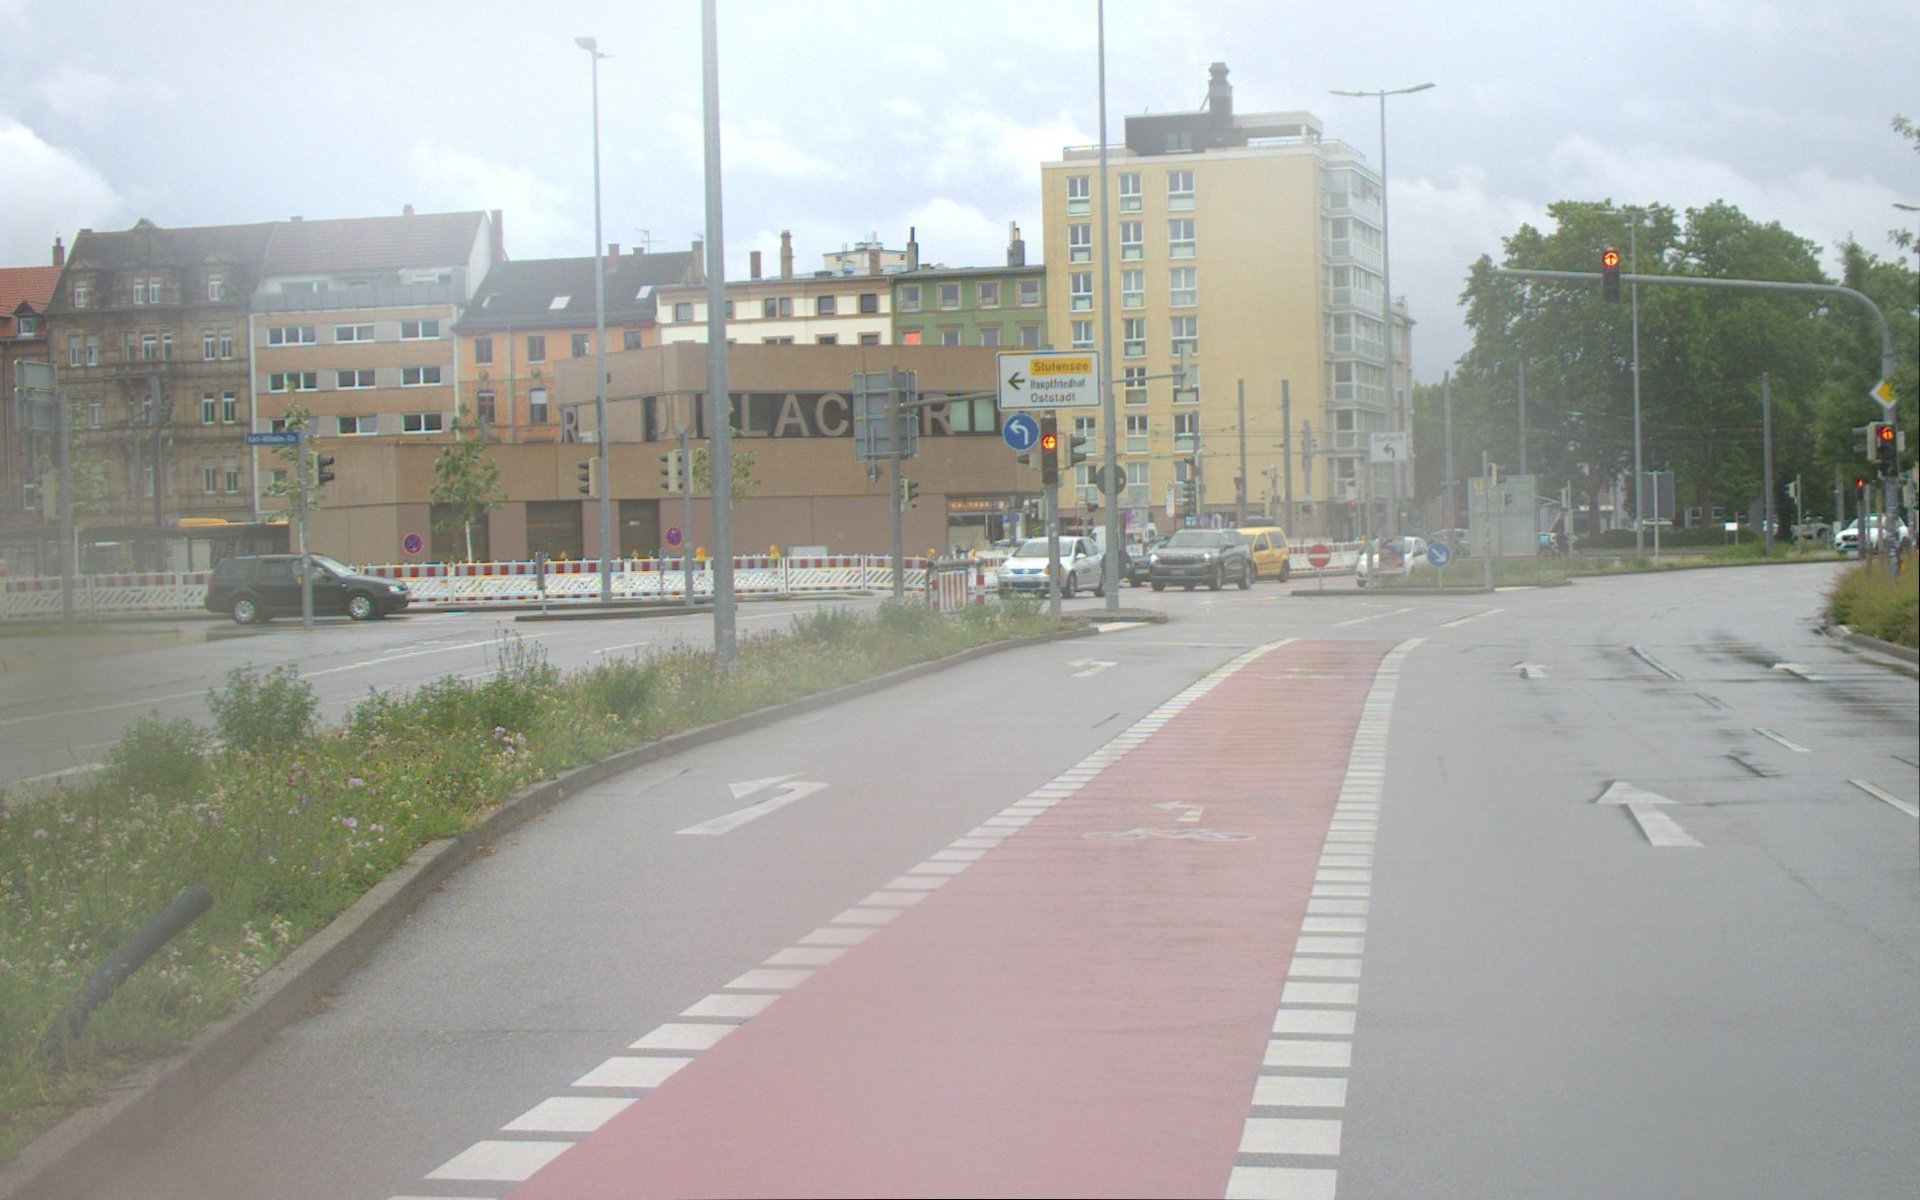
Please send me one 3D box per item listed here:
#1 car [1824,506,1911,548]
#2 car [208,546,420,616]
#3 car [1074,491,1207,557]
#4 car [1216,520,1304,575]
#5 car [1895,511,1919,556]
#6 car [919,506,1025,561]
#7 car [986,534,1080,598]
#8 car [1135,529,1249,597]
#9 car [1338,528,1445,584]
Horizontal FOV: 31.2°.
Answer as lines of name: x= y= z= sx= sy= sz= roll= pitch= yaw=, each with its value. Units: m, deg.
car: x=40.406 y=-3.250 z=152.993 sx=1.830 sy=1.676 sz=5.155 roll=-2 pitch=1 yaw=37
car: x=-13.868 y=-0.414 z=73.900 sx=4.192 sy=1.397 sz=1.618 roll=-1 pitch=1 yaw=4
car: x=9.779 y=-4.104 z=186.034 sx=6.745 sy=3.368 sz=2.808 roll=-1 pitch=1 yaw=13
car: x=9.783 y=-1.715 z=111.993 sx=1.707 sy=1.700 sz=4.148 roll=-1 pitch=1 yaw=22
car: x=35.718 y=-2.465 z=125.776 sx=1.793 sy=1.637 sz=4.152 roll=0 pitch=1 yaw=32
car: x=0.667 y=-3.652 z=188.354 sx=5.353 sy=2.877 sz=2.338 roll=-1 pitch=1 yaw=13
car: x=1.750 y=-0.818 z=80.723 sx=1.679 sy=1.399 sz=4.157 roll=-2 pitch=1 yaw=8
car: x=6.233 y=-1.000 z=91.922 sx=1.995 sy=1.630 sz=4.599 roll=-3 pitch=1 yaw=17
car: x=12.663 y=-1.309 z=100.651 sx=1.682 sy=1.496 sz=3.862 roll=-1 pitch=1 yaw=30
